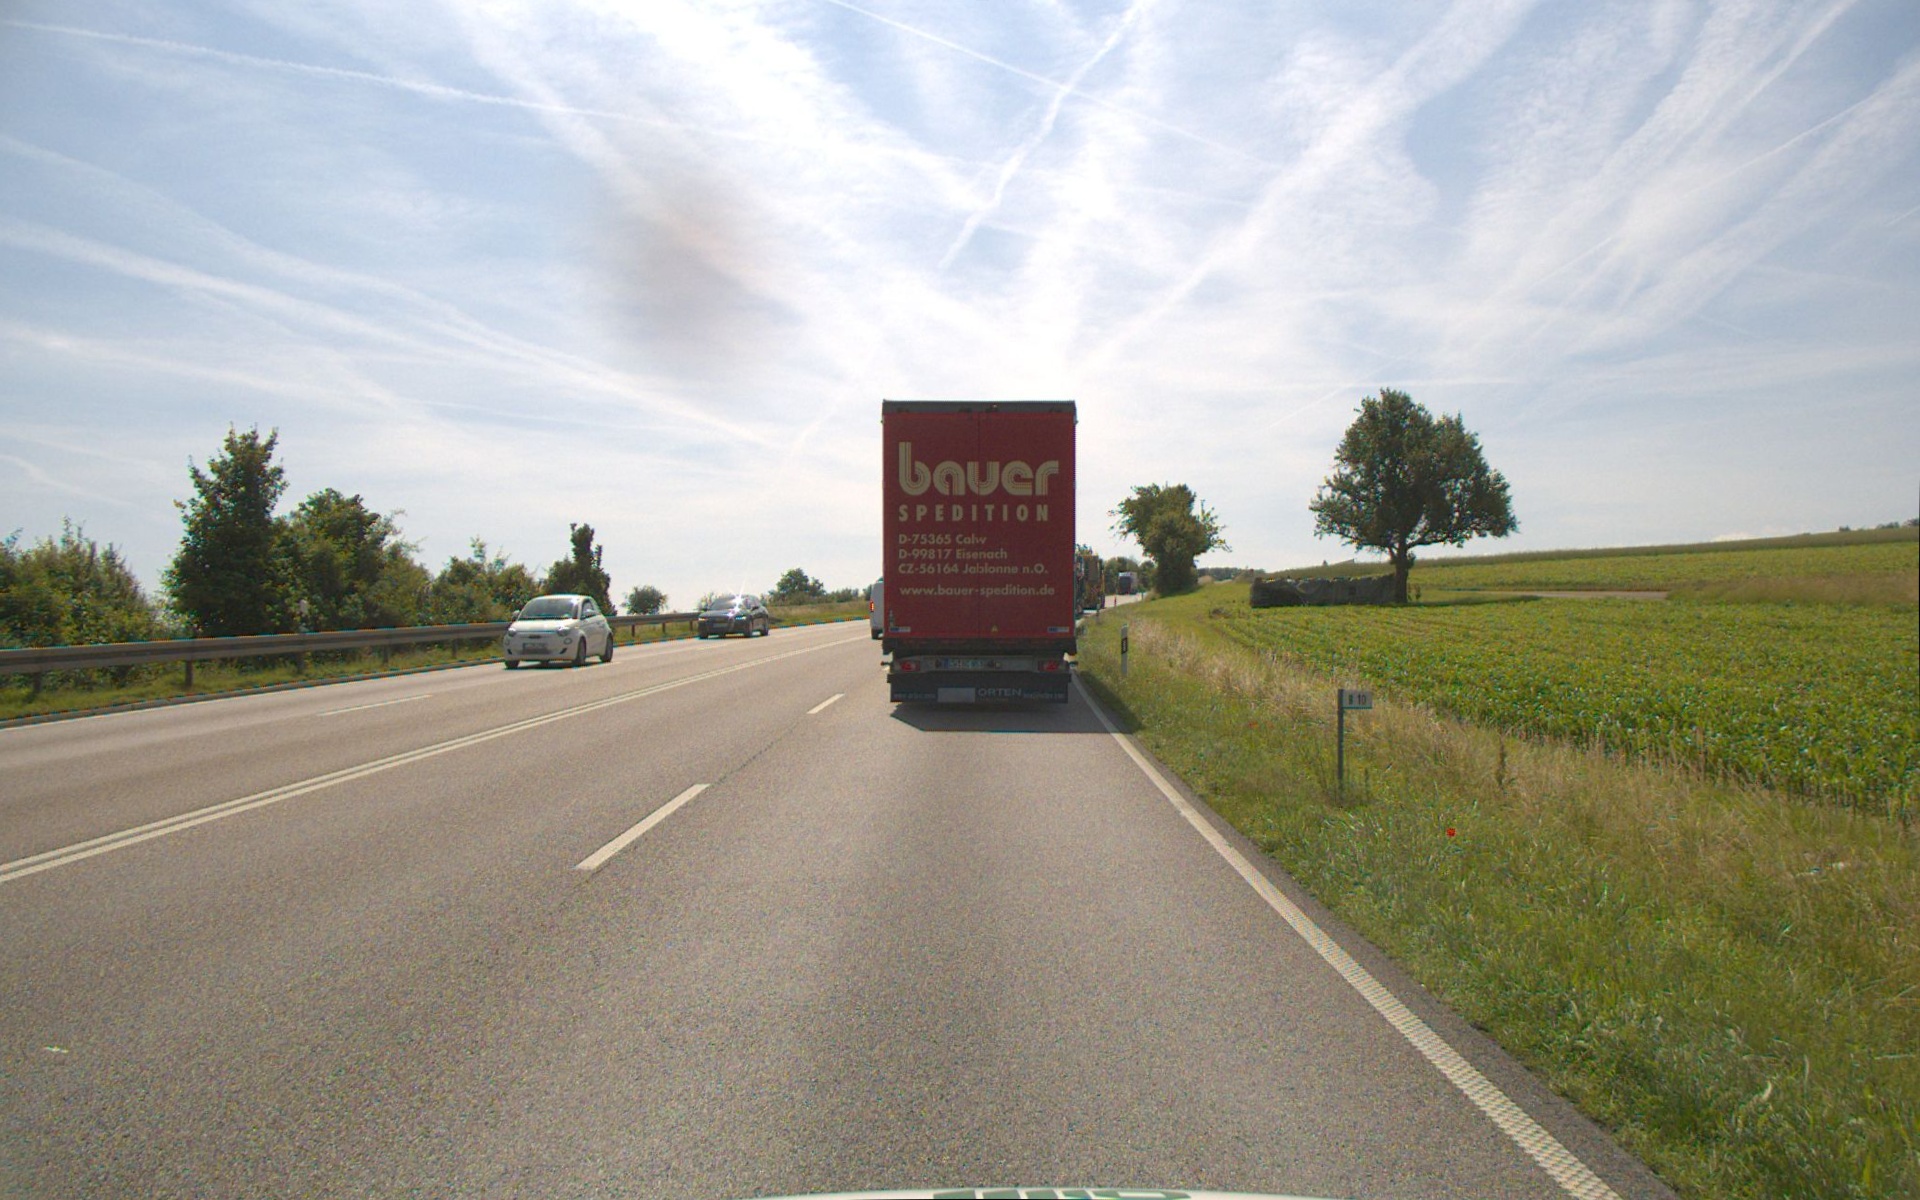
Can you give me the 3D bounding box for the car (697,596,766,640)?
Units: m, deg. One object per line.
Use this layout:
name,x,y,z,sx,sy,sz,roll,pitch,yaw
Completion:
car,-8.165,0.617,59.402,1.798,1.481,4.326,-1,0,1

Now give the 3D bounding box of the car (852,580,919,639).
car,-2.473,0.297,56.314,1.866,1.917,5.433,0,0,2

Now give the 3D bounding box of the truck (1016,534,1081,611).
truck,5.221,-1.485,94.746,2.982,3.978,15.626,-1,0,6

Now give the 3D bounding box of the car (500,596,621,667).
car,-8.820,0.668,36.784,1.623,1.483,3.735,-1,0,2

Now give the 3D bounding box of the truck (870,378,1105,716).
truck,0.375,-0.708,29.228,2.945,4.253,16.714,0,0,0

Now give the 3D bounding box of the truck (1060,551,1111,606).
truck,9.874,-1.620,128.504,2.982,3.978,18.412,-1,0,7
